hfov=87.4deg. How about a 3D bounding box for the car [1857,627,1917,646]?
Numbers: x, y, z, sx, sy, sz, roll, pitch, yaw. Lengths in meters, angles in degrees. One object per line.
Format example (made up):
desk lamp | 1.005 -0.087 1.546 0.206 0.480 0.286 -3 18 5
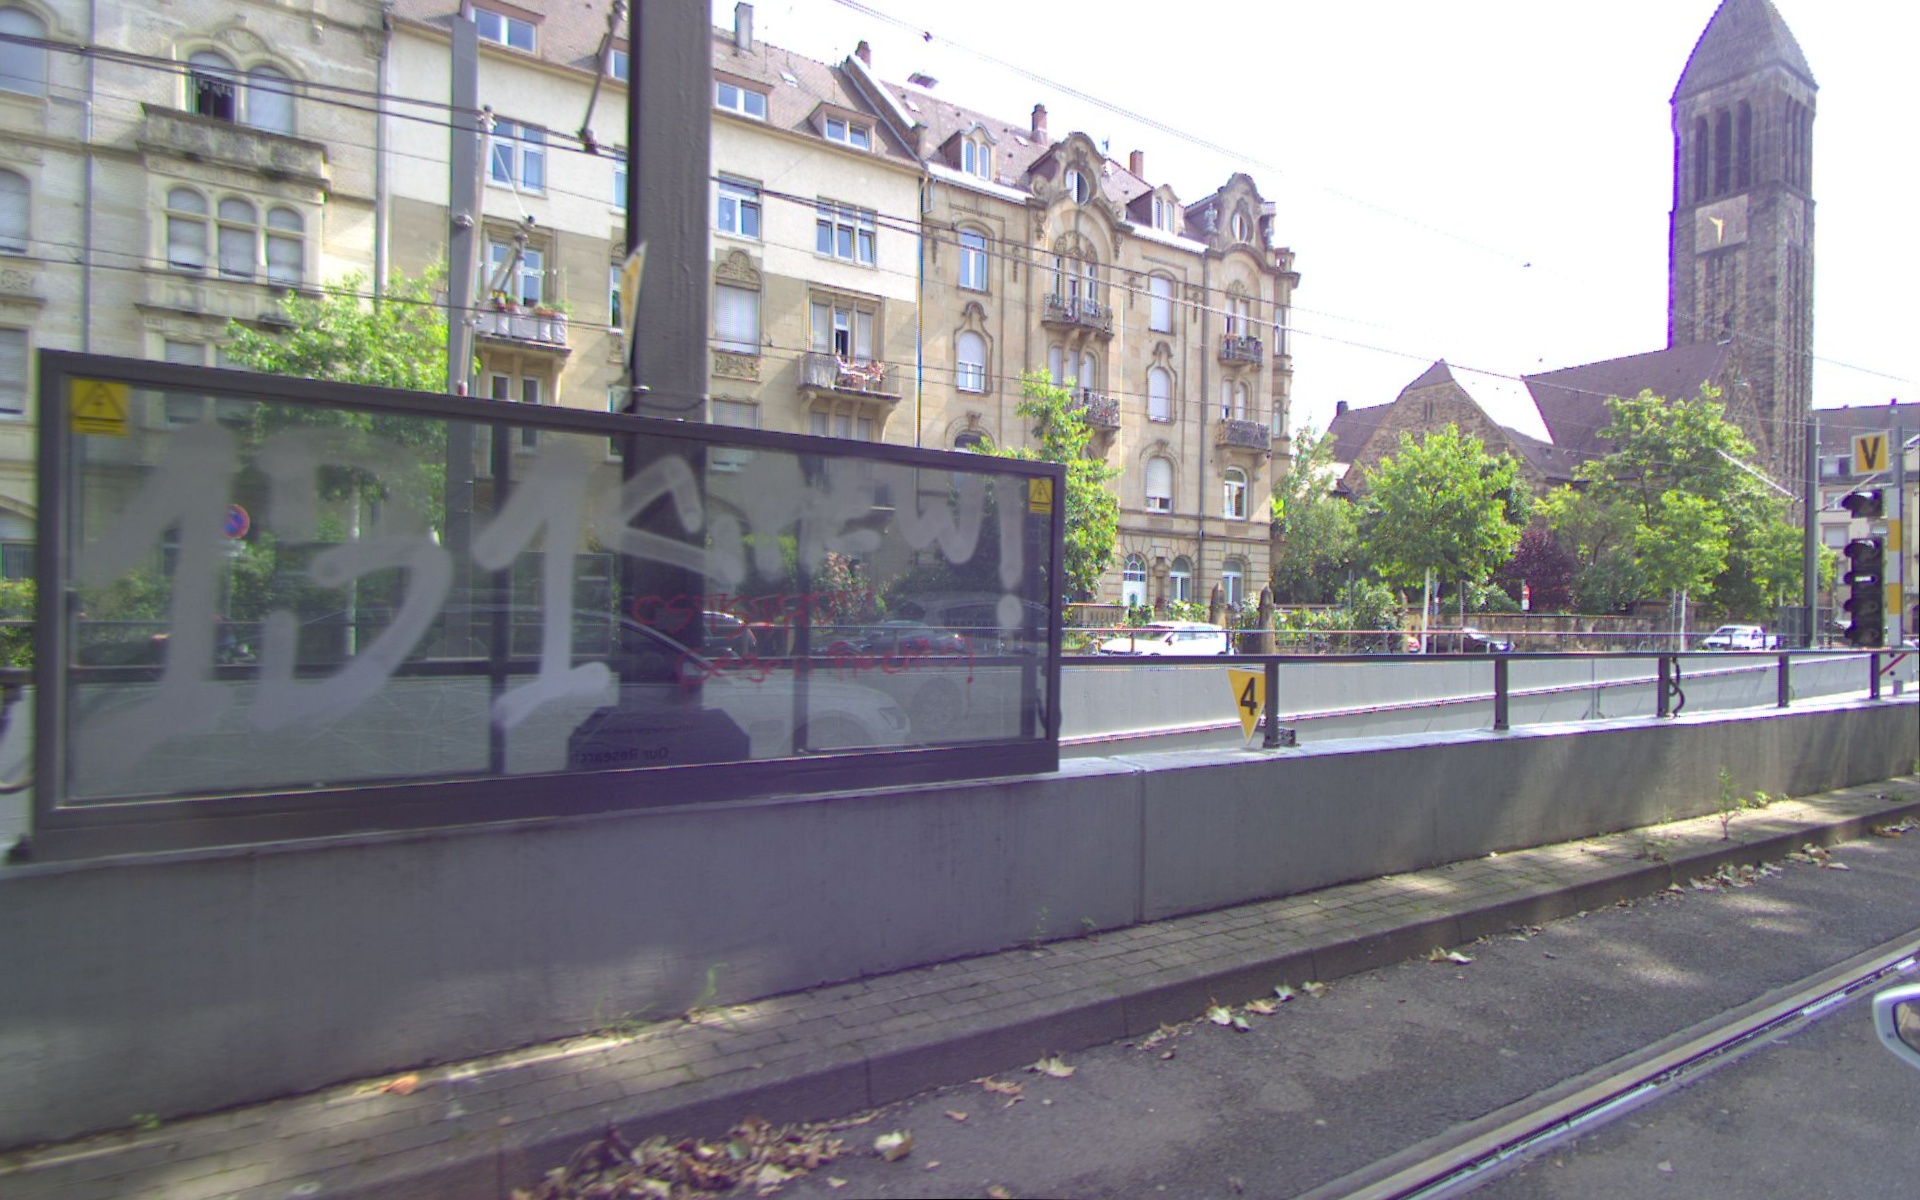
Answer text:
car | 85.882 3.366 93.144 1.960 1.696 4.001 1 -1 2

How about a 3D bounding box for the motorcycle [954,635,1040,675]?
motorcycle | 0.905 1.355 24.919 1.402 0.954 1.751 1 -3 -32

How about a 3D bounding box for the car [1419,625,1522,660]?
car | 23.442 1.925 46.250 1.703 1.483 3.943 1 -1 -30

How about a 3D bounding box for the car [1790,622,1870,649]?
car | 60.199 2.441 69.536 1.875 1.772 3.847 1 -1 -33

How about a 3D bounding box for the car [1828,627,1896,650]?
car | 63.343 2.659 70.570 1.834 1.522 3.247 1 -1 -32

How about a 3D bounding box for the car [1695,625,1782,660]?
car | 36.722 1.973 47.363 4.367 1.524 1.920 1 -1 -33

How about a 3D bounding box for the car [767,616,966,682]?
car | -2.093 1.071 22.829 4.057 1.345 2.008 1 -1 -34

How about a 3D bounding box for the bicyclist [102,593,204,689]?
bicyclist | -11.861 0.598 14.796 1.037 1.355 0.764 1 -2 -31

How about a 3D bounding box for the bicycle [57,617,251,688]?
bicycle | -11.801 0.765 14.821 2.116 0.991 0.772 1 -2 -31

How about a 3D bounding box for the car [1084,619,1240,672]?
car | 5.614 1.235 27.790 4.267 1.345 1.741 1 -1 -33

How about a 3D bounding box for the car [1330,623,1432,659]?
car | 18.311 1.754 43.814 1.908 1.483 3.766 1 -1 -27

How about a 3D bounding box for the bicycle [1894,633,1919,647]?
bicycle | 87.793 3.676 91.945 0.982 1.270 3.311 1 -1 -14
